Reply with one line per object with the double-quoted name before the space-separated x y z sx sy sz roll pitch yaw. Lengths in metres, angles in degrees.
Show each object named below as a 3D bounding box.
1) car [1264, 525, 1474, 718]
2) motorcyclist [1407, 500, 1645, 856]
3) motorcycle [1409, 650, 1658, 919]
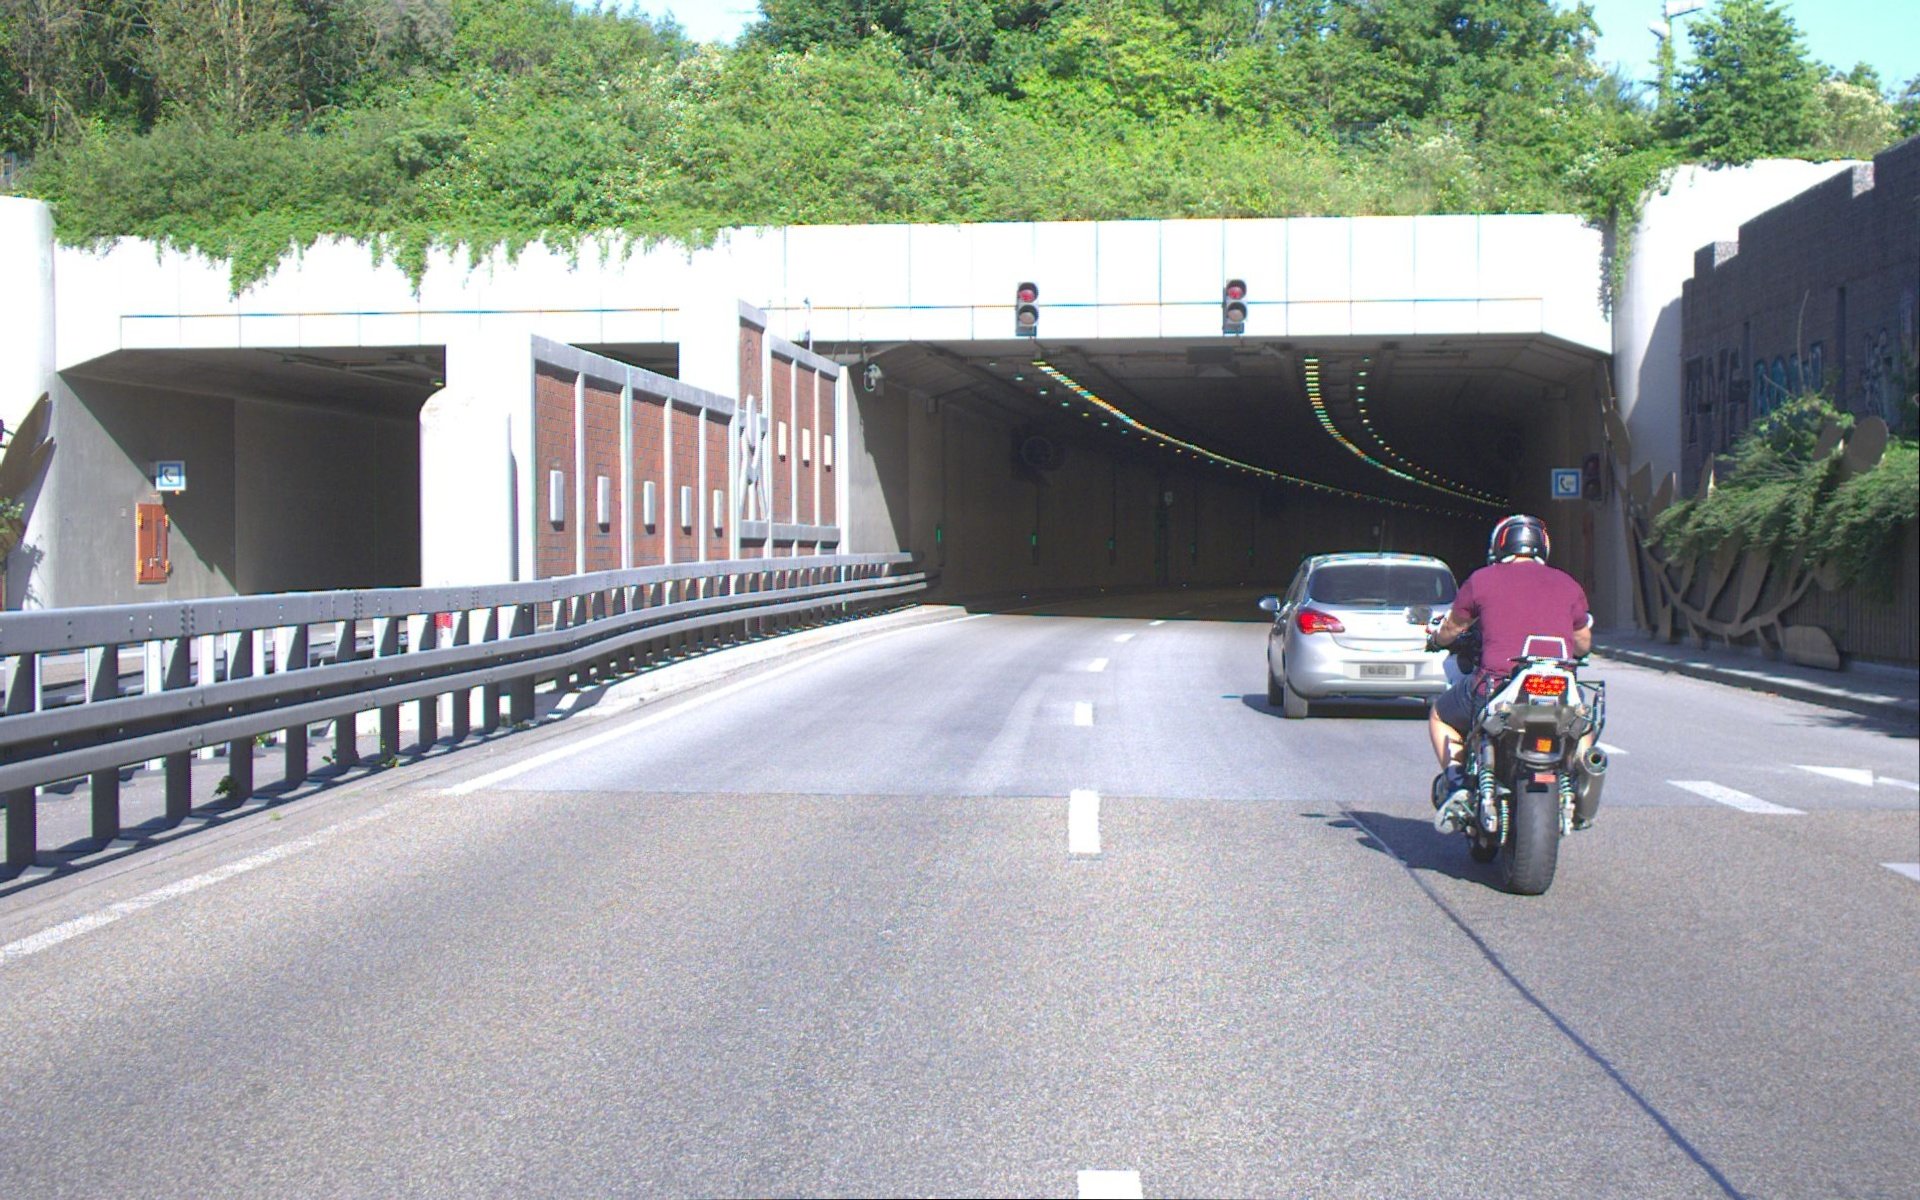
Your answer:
"car" 3.657 0.136 31.282 1.667 1.546 4.000 2 2 4
"motorcyclist" 2.494 0.320 15.265 0.883 1.496 1.063 2 2 3
"motorcycle" 2.493 0.764 15.257 0.859 0.988 2.728 1 1 5
